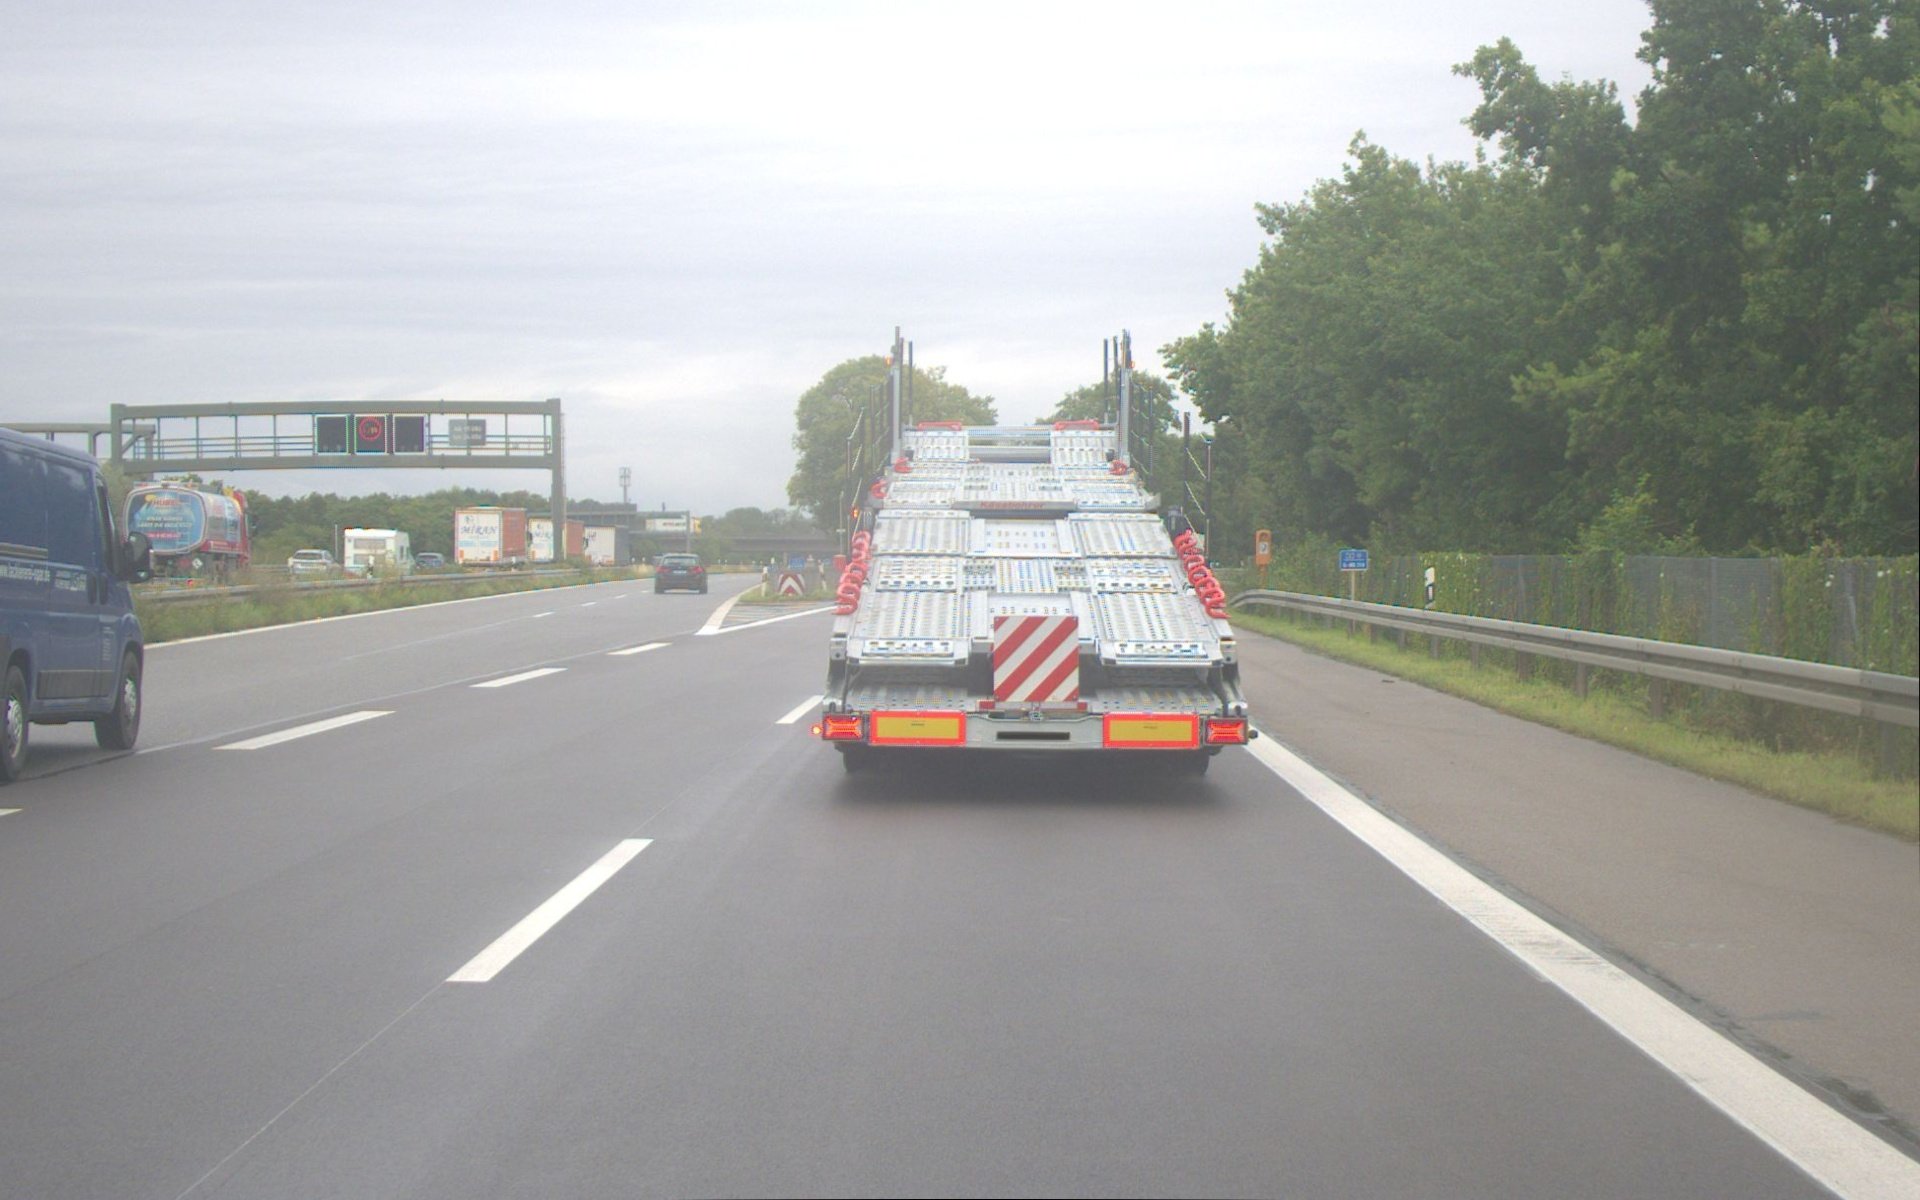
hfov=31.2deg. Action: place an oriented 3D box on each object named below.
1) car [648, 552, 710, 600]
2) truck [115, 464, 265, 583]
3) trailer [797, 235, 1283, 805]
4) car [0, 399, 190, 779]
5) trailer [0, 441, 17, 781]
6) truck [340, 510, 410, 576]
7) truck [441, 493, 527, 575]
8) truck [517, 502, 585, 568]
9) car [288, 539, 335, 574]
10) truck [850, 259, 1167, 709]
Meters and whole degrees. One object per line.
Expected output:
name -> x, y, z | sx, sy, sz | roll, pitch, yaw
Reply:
car -> -10.008, -0.868, 122.932 | 1.961, 1.632, 5.626 | 1, 0, -2
truck -> -22.900, -2.254, 102.714 | 2.856, 3.353, 8.632 | 1, 1, -2
trailer -> 0.447, -0.560, 25.266 | 2.777, 3.273, 10.407 | 1, 1, 0
car -> -7.019, -0.131, 23.428 | 2.372, 2.258, 6.257 | 1, 1, -3
trailer -> -6.688, 0.093, 16.811 | 2.484, 1.988, 7.064 | 1, 1, -3
truck -> -24.833, -2.434, 146.085 | 2.243, 2.695, 5.280 | 1, 1, -2
truck -> -26.524, -3.691, 192.121 | 3.733, 4.402, 10.196 | 1, 1, -2
truck -> -28.388, -4.538, 239.091 | 3.733, 4.402, 11.898 | 1, 1, -2
car -> -29.472, -1.967, 156.259 | 1.682, 1.525, 4.001 | 1, 1, -5
truck -> 0.393, -1.119, 35.123 | 2.738, 3.954, 9.129 | 1, 1, 0
